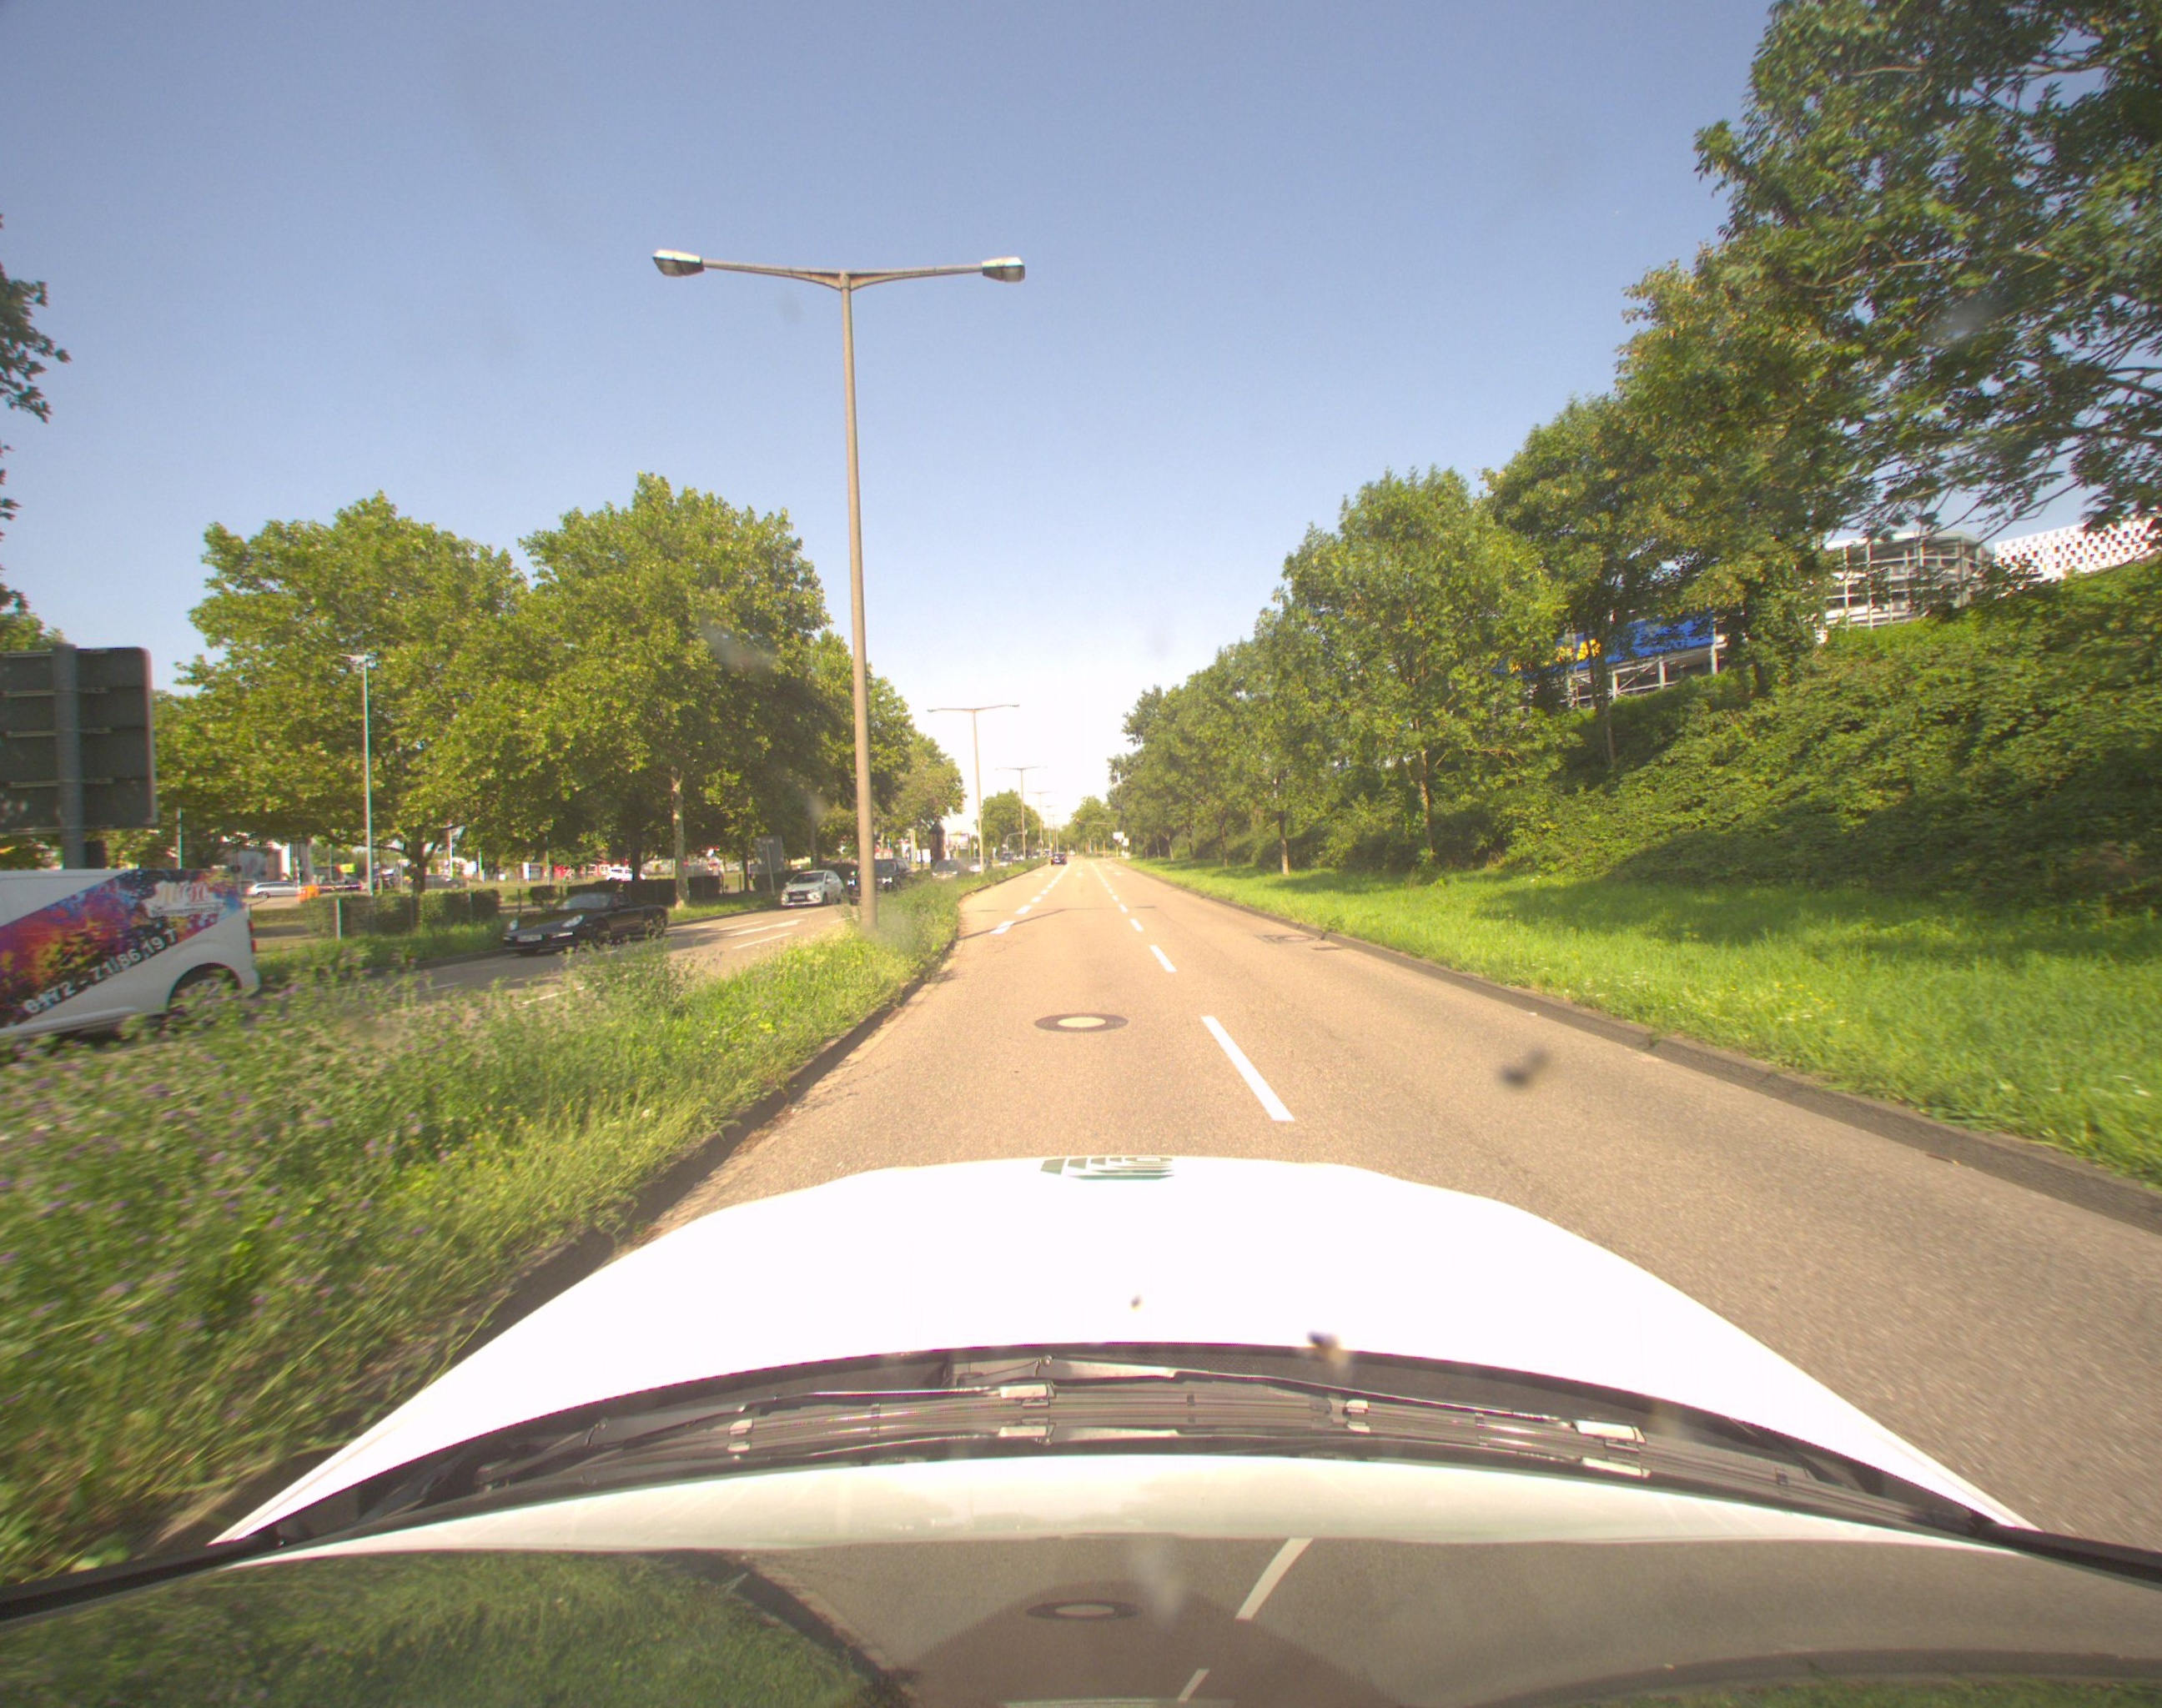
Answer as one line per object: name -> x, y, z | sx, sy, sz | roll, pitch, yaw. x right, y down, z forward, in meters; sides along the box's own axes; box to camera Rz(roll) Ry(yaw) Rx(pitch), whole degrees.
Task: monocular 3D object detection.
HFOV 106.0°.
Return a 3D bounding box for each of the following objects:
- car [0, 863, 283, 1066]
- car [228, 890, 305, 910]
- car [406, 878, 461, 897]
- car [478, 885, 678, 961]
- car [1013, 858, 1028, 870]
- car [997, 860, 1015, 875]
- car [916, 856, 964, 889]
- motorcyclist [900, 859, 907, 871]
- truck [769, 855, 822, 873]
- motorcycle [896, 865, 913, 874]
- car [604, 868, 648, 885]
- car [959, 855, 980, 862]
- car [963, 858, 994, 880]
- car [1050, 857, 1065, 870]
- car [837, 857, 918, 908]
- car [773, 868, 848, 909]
car -> -11.021, 1.104, 7.672 | 1.978, 1.858, 4.969 | -4, 0, 0
car -> -72.346, 4.085, 72.439 | 4.612, 1.545, 1.849 | 0, 0, -39
car -> -63.054, 3.241, 79.415 | 4.018, 1.545, 1.820 | -3, 0, -36
car -> -11.110, 1.467, 18.373 | 1.784, 1.263, 4.097 | -4, 0, 2
car -> -10.143, 1.705, 136.097 | 1.989, 1.705, 4.501 | -10, 0, -2
car -> -8.199, 1.454, 89.205 | 1.671, 1.486, 3.491 | -2, 0, -1
car -> -8.372, 1.077, 48.882 | 1.987, 1.759, 4.307 | -4, 0, 0
motorcyclist -> -23.364, 1.393, 107.086 | 0.687, 1.572, 0.676 | -1, -1, -36
truck -> -55.358, 1.845, 157.881 | 9.055, 2.957, 3.475 | -3, 0, -36
motorcycle -> -23.239, 1.998, 107.164 | 2.085, 1.136, 0.670 | -2, -1, -36
car -> -50.107, 2.462, 89.685 | 4.018, 1.679, 1.849 | -1, 0, -37
car -> -19.805, 0.816, 144.887 | 3.356, 1.137, 1.497 | -3, 0, 8
car -> -8.262, 1.165, 65.843 | 1.874, 1.594, 4.107 | -3, 0, 0
car -> -2.923, 1.192, 101.408 | 1.686, 1.486, 3.999 | -3, 0, 0
car -> -8.100, 1.068, 32.792 | 1.987, 1.759, 4.477 | -4, 0, 0
car -> -11.162, 1.372, 33.836 | 1.786, 1.482, 3.998 | -3, 0, -1
